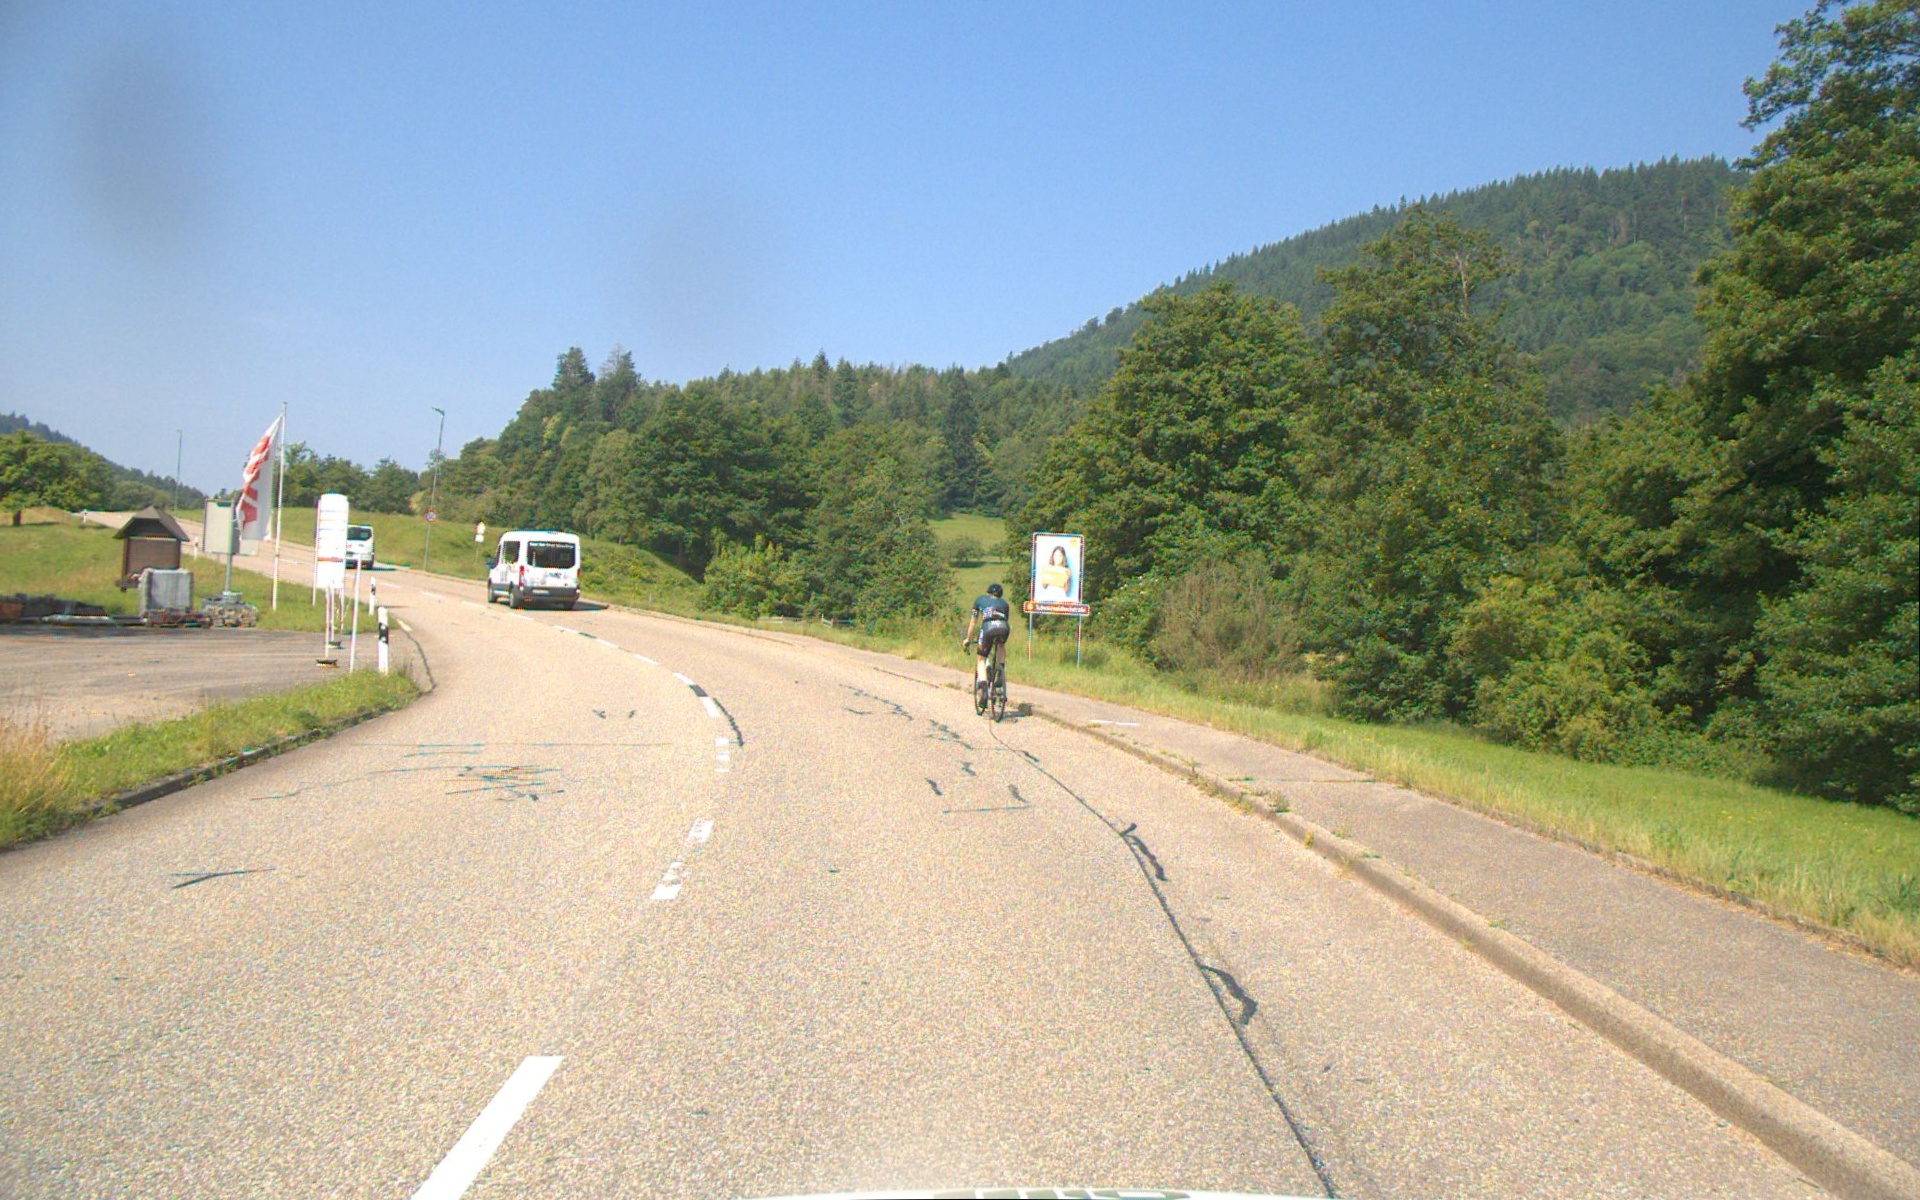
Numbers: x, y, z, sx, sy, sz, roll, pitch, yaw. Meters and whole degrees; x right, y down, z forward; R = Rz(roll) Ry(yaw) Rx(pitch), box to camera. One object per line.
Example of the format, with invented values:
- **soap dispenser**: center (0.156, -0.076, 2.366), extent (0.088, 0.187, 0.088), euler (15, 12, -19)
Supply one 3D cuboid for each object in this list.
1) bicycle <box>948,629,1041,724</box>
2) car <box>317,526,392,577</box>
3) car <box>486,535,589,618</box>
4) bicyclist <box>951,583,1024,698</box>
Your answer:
- **bicycle**: center (0.408, 0.930, 20.702), extent (0.570, 1.053, 1.981), euler (0, 1, -17)
- **car**: center (-28.661, -2.322, 78.200), extent (2.204, 2.326, 4.924), euler (-1, 2, -35)
- **car**: center (-13.882, -0.818, 54.161), extent (2.197, 2.569, 4.939), euler (0, 2, -28)
- **bicyclist**: center (0.333, 0.479, 20.518), extent (0.570, 1.366, 1.140), euler (0, 1, -17)
